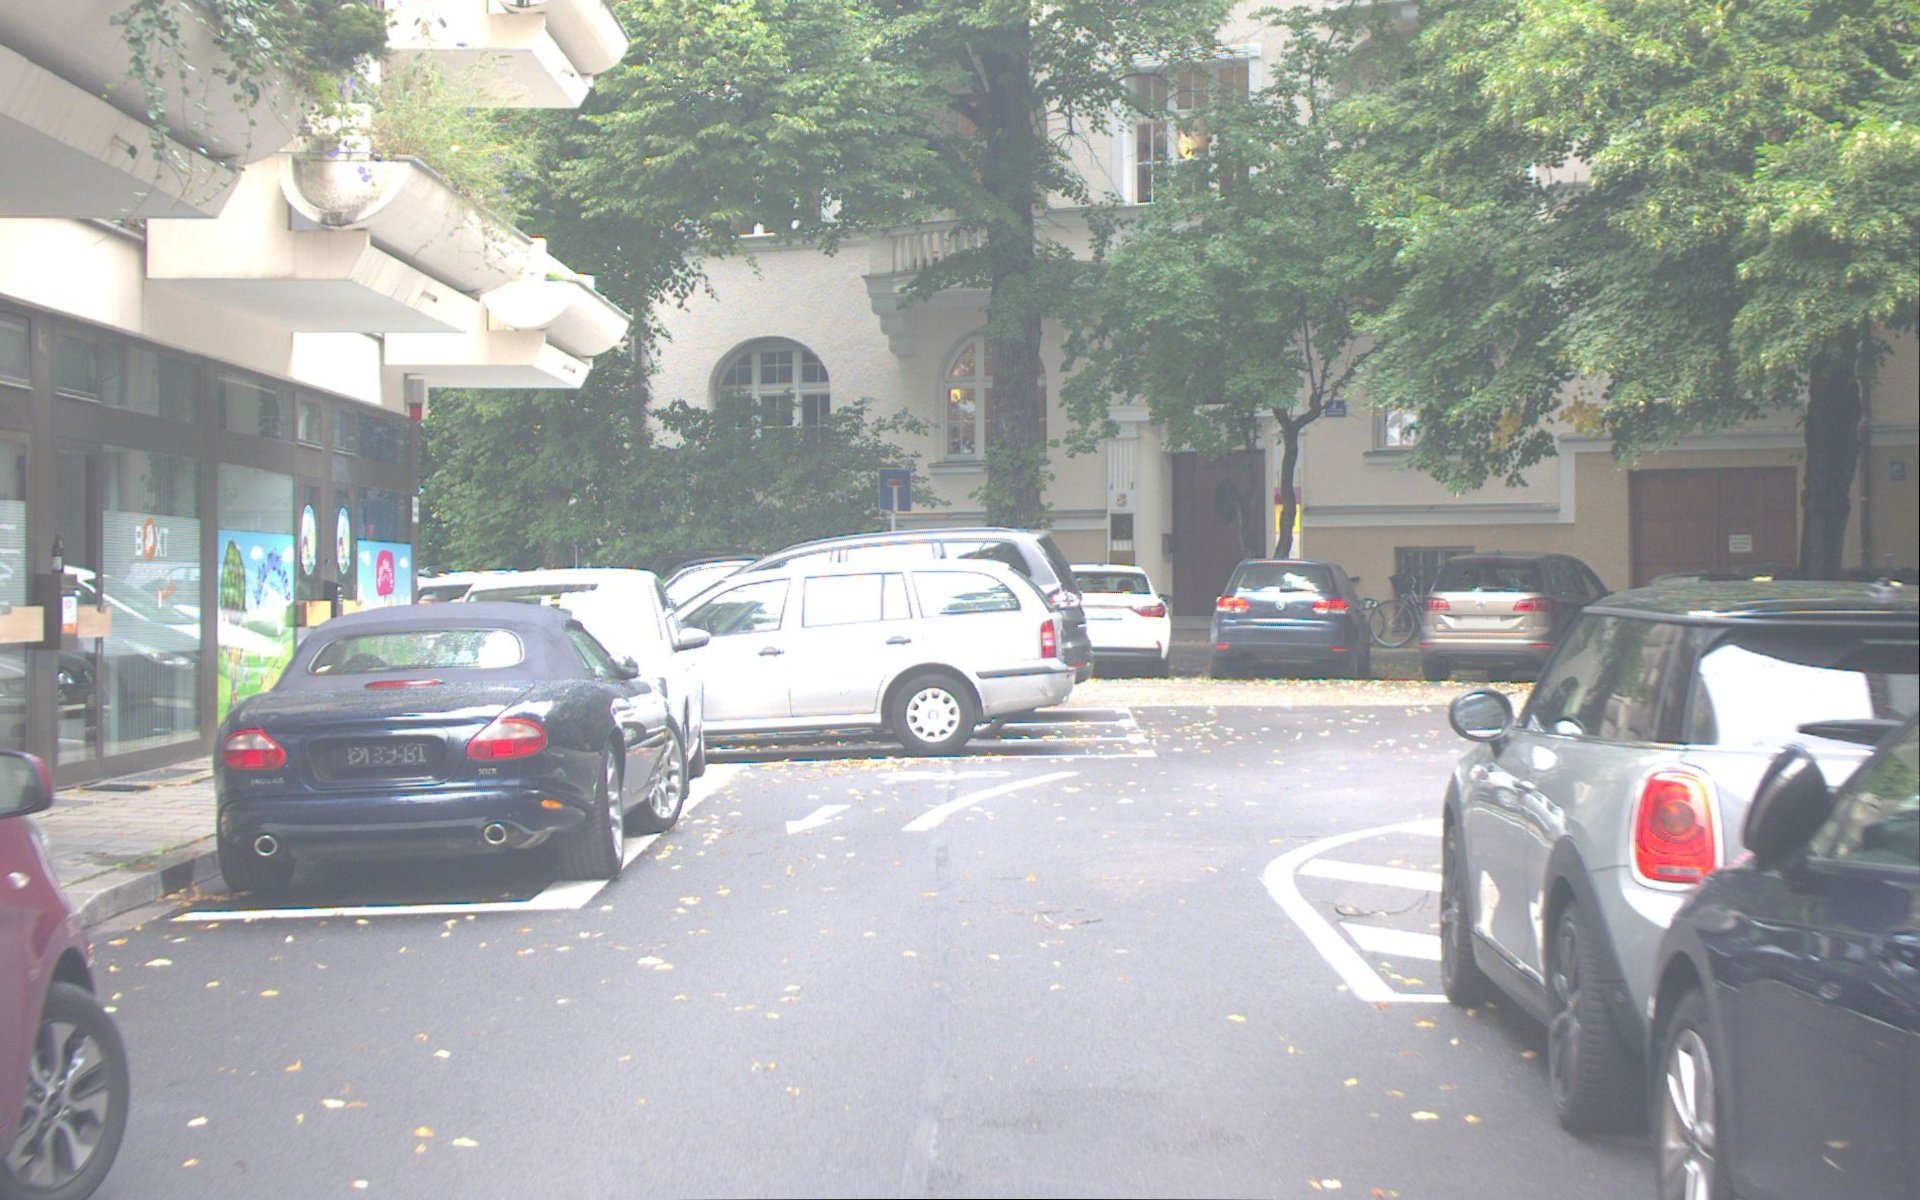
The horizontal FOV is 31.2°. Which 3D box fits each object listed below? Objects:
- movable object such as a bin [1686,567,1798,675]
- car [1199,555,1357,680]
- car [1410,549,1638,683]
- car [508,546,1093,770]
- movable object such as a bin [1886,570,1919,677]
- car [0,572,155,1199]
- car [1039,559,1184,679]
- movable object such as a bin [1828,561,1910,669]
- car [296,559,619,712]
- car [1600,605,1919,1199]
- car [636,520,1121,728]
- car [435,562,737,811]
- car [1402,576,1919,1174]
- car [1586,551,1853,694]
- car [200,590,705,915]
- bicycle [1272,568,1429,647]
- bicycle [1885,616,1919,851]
[{"bbox_3d":[10.097,0.255,44.363,1.151,1.344,1.155,1,1,26],"label":"movable object such as a bin"},{"bbox_3d":[3.939,0.179,42.113,1.792,1.426,3.999,1,1,7],"label":"car"},{"bbox_3d":[6.860,0.170,41.523,1.841,1.525,4.020,1,1,23],"label":"car"},{"bbox_3d":[-1.171,0.412,26.014,4.227,1.450,1.721,-2,1,0],"label":"car"},{"bbox_3d":[12.197,0.295,43.046,0.864,1.300,1.430,3,2,26],"label":"movable object such as a bin"},{"bbox_3d":[-2.780,0.697,6.667,1.619,1.491,3.709,0,0,-1],"label":"car"},{"bbox_3d":[1.899,0.203,43.226,1.718,1.426,4.000,1,1,2],"label":"car"},{"bbox_3d":[11.578,0.184,43.770,0.714,1.343,1.371,1,1,28],"label":"movable object such as a bin"},{"bbox_3d":[-5.534,0.379,37.809,3.287,1.625,1.510,0,0,-19],"label":"car"},{"bbox_3d":[2.356,0.734,5.509,1.833,1.414,4.058,0,0,-1],"label":"car"},{"bbox_3d":[-0.739,0.200,31.261,4.219,1.678,1.903,-2,1,-1],"label":"car"},{"bbox_3d":[-2.334,0.488,22.234,1.560,1.416,3.833,-2,1,-1],"label":"car"},{"bbox_3d":[2.430,0.655,10.342,1.743,1.436,4.000,0,0,1],"label":"car"},{"bbox_3d":[8.710,0.284,39.168,1.707,1.462,4.281,2,-1,30],"label":"car"},{"bbox_3d":[-2.324,0.642,16.902,1.797,1.273,4.617,-2,1,0],"label":"car"},{"bbox_3d":[5.751,0.100,50.716,2.232,1.111,0.576,1,1,29],"label":"bicycle"},{"bbox_3d":[5.415,0.650,17.109,1.767,1.134,0.554,0,0,-35],"label":"bicycle"}]
